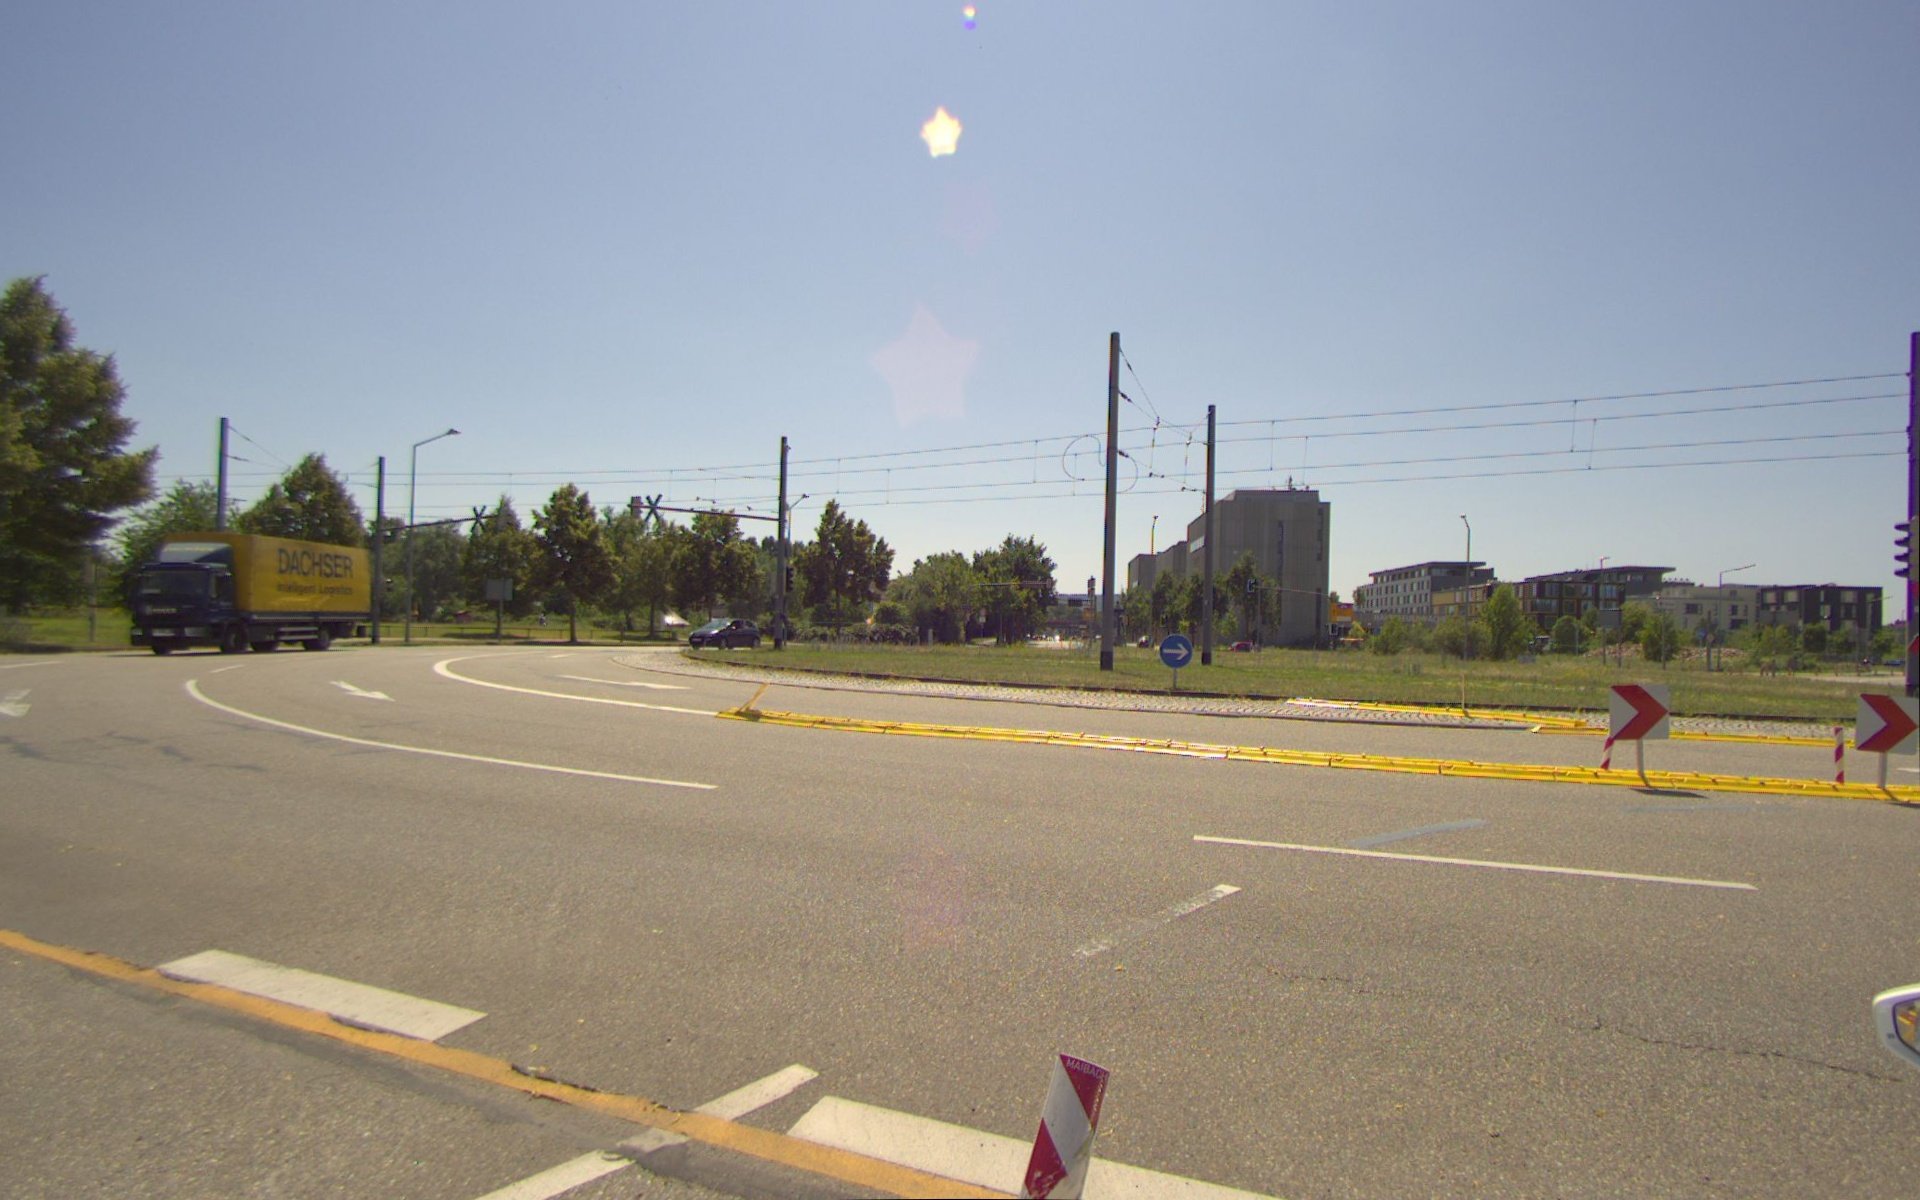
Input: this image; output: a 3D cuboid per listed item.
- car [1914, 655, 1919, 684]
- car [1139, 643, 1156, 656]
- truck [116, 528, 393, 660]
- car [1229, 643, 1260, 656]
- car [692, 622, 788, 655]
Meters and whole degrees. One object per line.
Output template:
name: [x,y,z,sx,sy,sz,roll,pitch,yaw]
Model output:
car: [50.764,3.610,51.157,1.963,1.505,4.362,1,-2,27]
car: [22.770,6.004,122.135,1.724,1.427,3.403,1,-1,5]
truck: [-22.924,-0.049,33.604,2.655,3.707,9.614,1,-2,-2]
car: [26.169,4.540,92.506,1.470,1.104,3.515,2,-1,-8]
car: [-10.324,1.802,47.333,1.952,1.437,3.978,1,-2,43]
